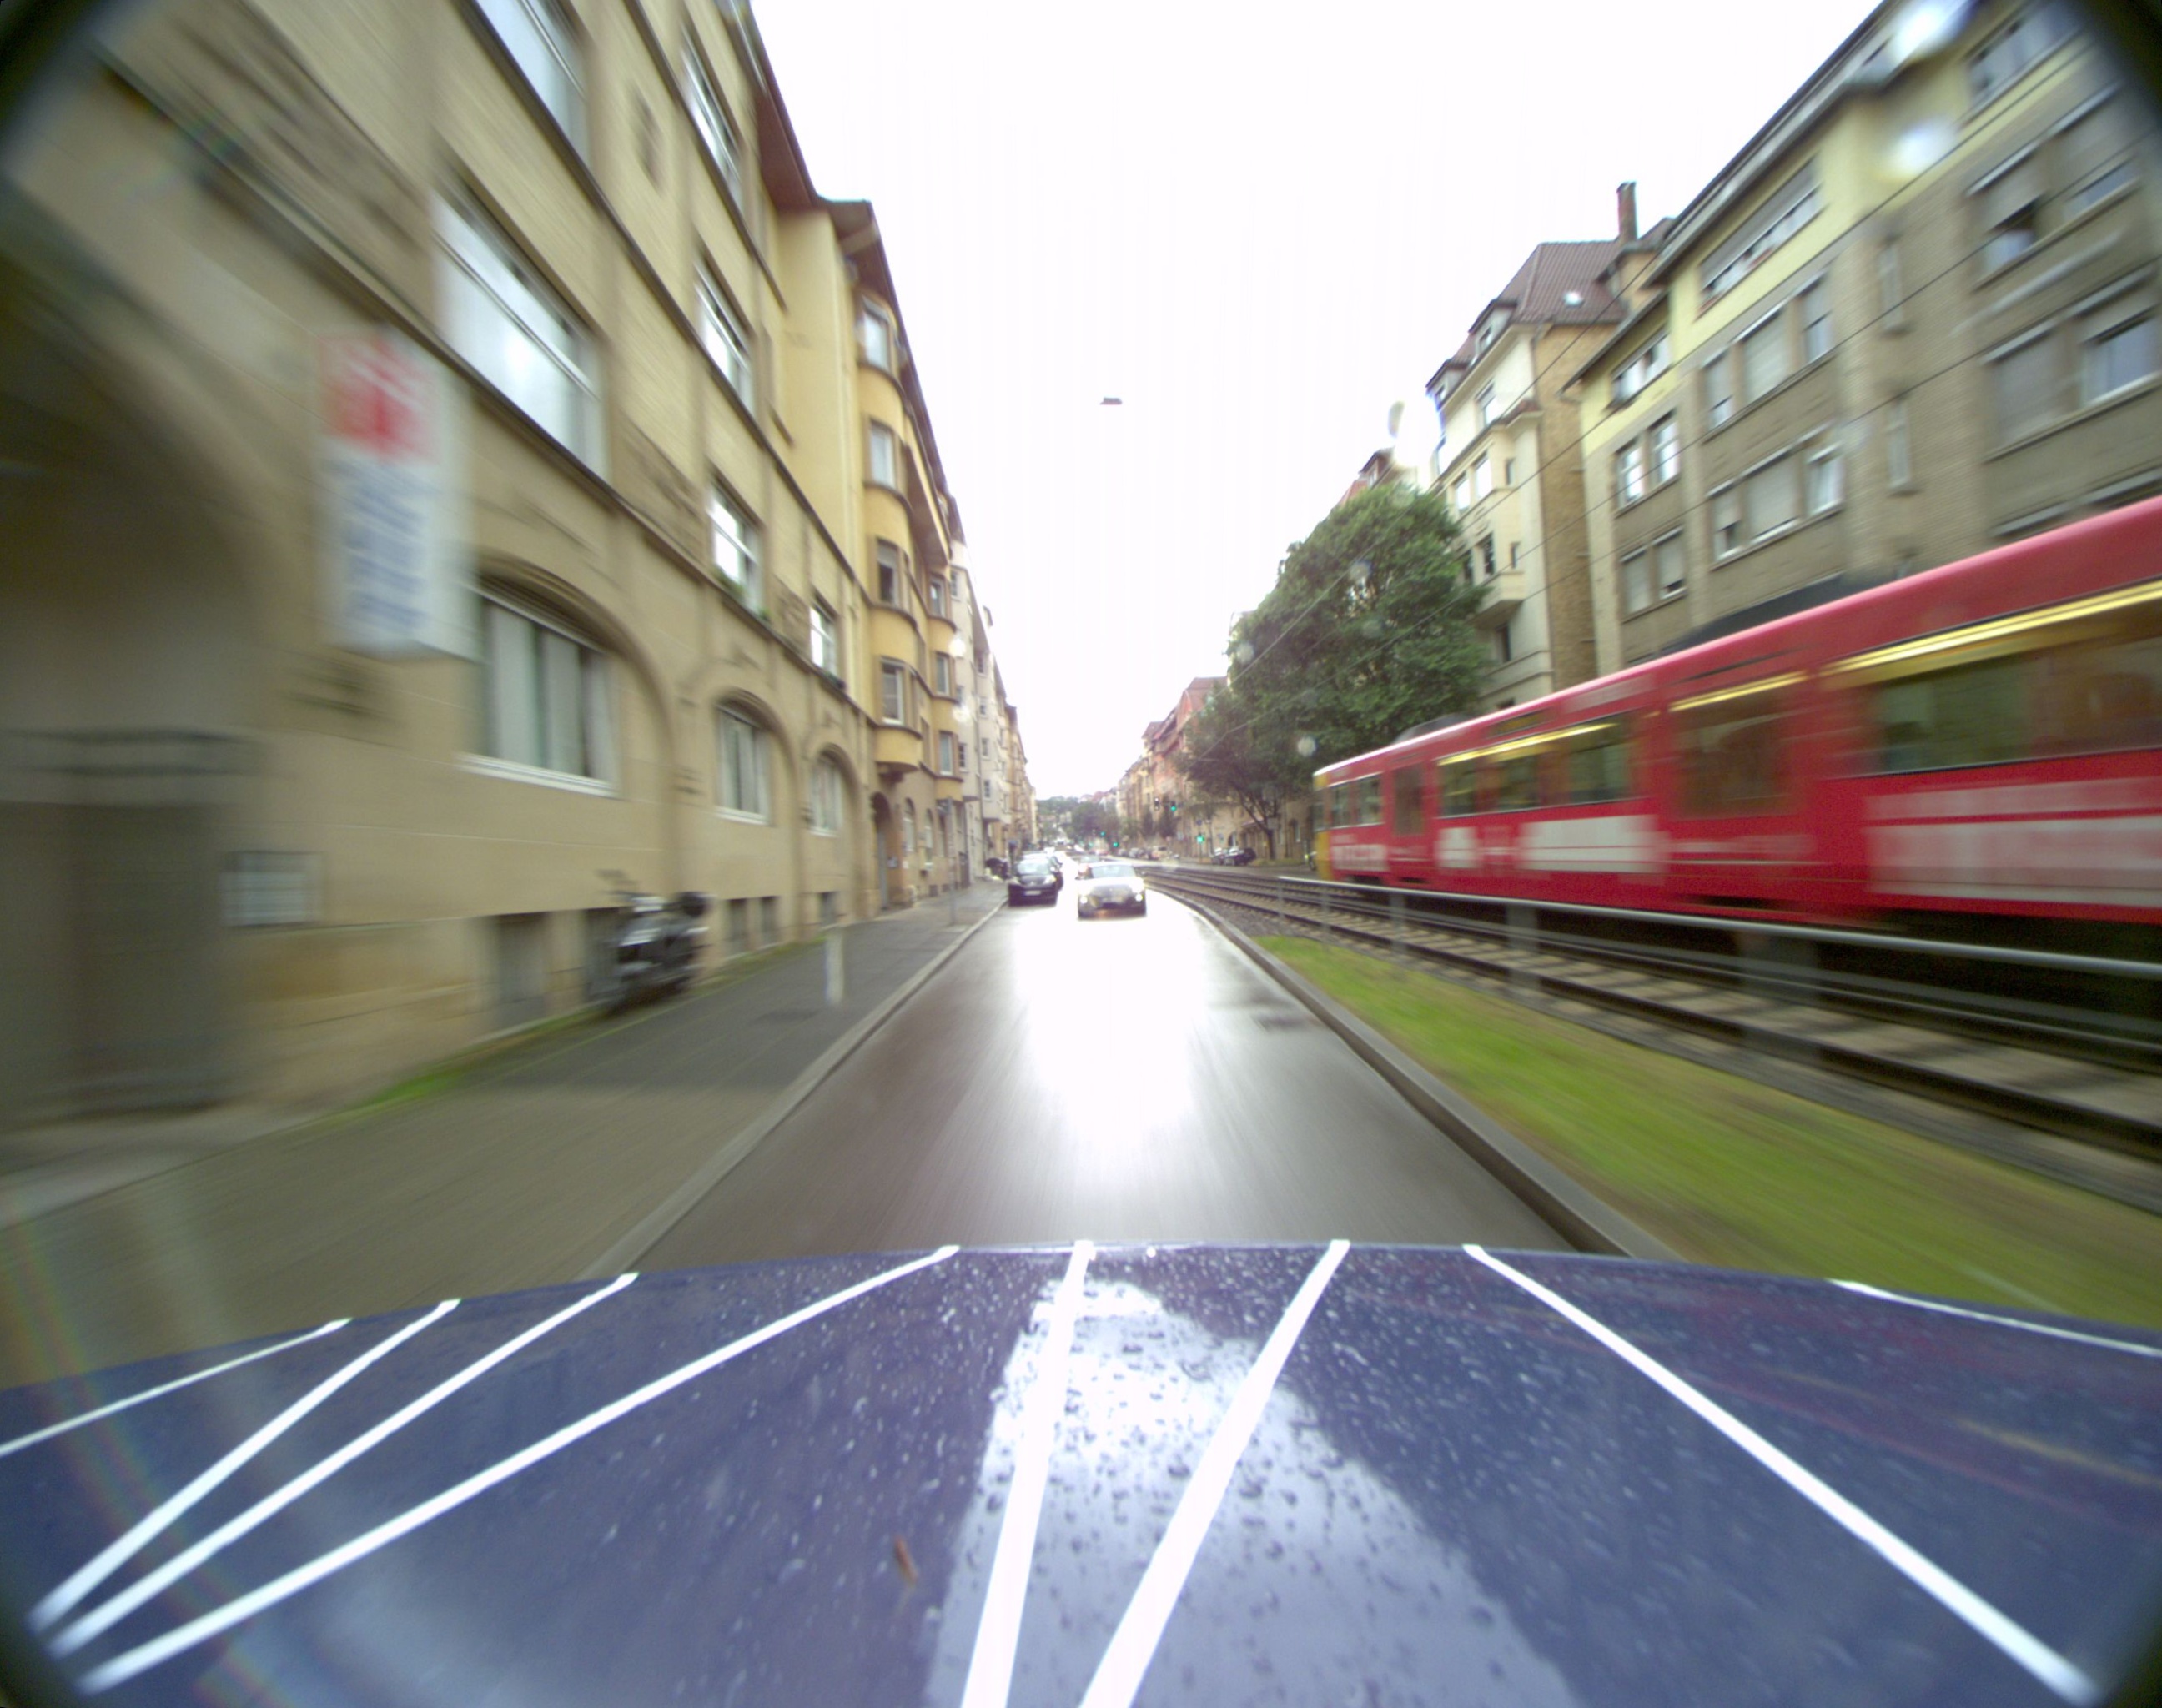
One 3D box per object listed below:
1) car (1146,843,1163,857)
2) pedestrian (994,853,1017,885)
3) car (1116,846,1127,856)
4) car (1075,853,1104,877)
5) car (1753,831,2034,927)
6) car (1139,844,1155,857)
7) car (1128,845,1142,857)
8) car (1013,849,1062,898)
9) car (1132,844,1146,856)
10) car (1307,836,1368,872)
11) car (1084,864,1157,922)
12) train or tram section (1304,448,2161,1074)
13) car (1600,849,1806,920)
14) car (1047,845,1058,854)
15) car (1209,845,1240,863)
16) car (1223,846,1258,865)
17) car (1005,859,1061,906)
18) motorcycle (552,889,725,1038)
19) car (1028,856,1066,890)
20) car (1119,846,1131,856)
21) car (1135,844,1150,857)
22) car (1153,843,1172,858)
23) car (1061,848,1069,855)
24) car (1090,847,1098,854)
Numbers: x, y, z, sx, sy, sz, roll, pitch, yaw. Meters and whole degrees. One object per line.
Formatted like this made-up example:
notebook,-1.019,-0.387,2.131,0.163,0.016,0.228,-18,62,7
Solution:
car,10.761,-0.555,111.571,1.999,1.958,3.999,-2,0,-2
pedestrian,-4.222,0.845,42.630,1.125,1.703,1.101,-2,1,-3
car,8.506,-0.584,159.674,1.999,1.958,3.999,-2,0,-2
car,0.515,0.670,48.720,1.690,1.451,3.298,0,0,-1
car,14.194,0.389,13.539,1.648,1.457,3.111,-2,0,0
car,10.257,-0.577,118.612,1.999,1.958,3.999,-2,0,-2
car,9.630,-0.493,134.665,1.999,1.958,3.999,-2,0,-2
car,-1.729,0.748,31.247,1.741,1.788,4.265,-2,0,0
car,9.842,-0.621,128.917,1.999,1.958,3.999,-2,0,-2
car,13.238,0.013,39.455,1.649,1.696,4.097,-2,0,-2
car,0.970,0.976,20.528,1.705,1.280,4.195,-2,0,0
train or tram section,7.867,-0.640,11.140,2.722,3.898,19.292,-2,0,-2
car,13.824,0.617,17.178,1.648,1.395,3.632,-2,0,0
car,-5.700,-0.913,153.359,1.998,1.761,4.000,-2,0,0
car,12.433,0.000,66.035,1.649,1.481,4.165,-2,0,-2
car,12.576,0.117,59.995,1.719,1.426,4.164,-2,1,-2
car,-1.570,0.923,26.210,1.633,1.443,4.000,-2,0,0
motorcycle,-4.395,1.025,7.720,0.692,1.230,1.778,3,0,-2
car,-1.598,0.879,37.053,1.648,1.536,4.027,-2,0,0
car,8.732,-0.561,152.150,1.999,1.958,3.999,-2,0,-2
car,10.048,-0.601,124.222,1.999,1.958,3.999,-2,0,-2
car,11.123,-0.527,104.391,1.999,1.958,3.999,-2,0,-2
car,-4.400,-0.719,207.003,1.999,1.958,3.999,-2,0,-2
car,3.688,-1.105,221.906,1.999,1.958,3.999,-2,0,-2
